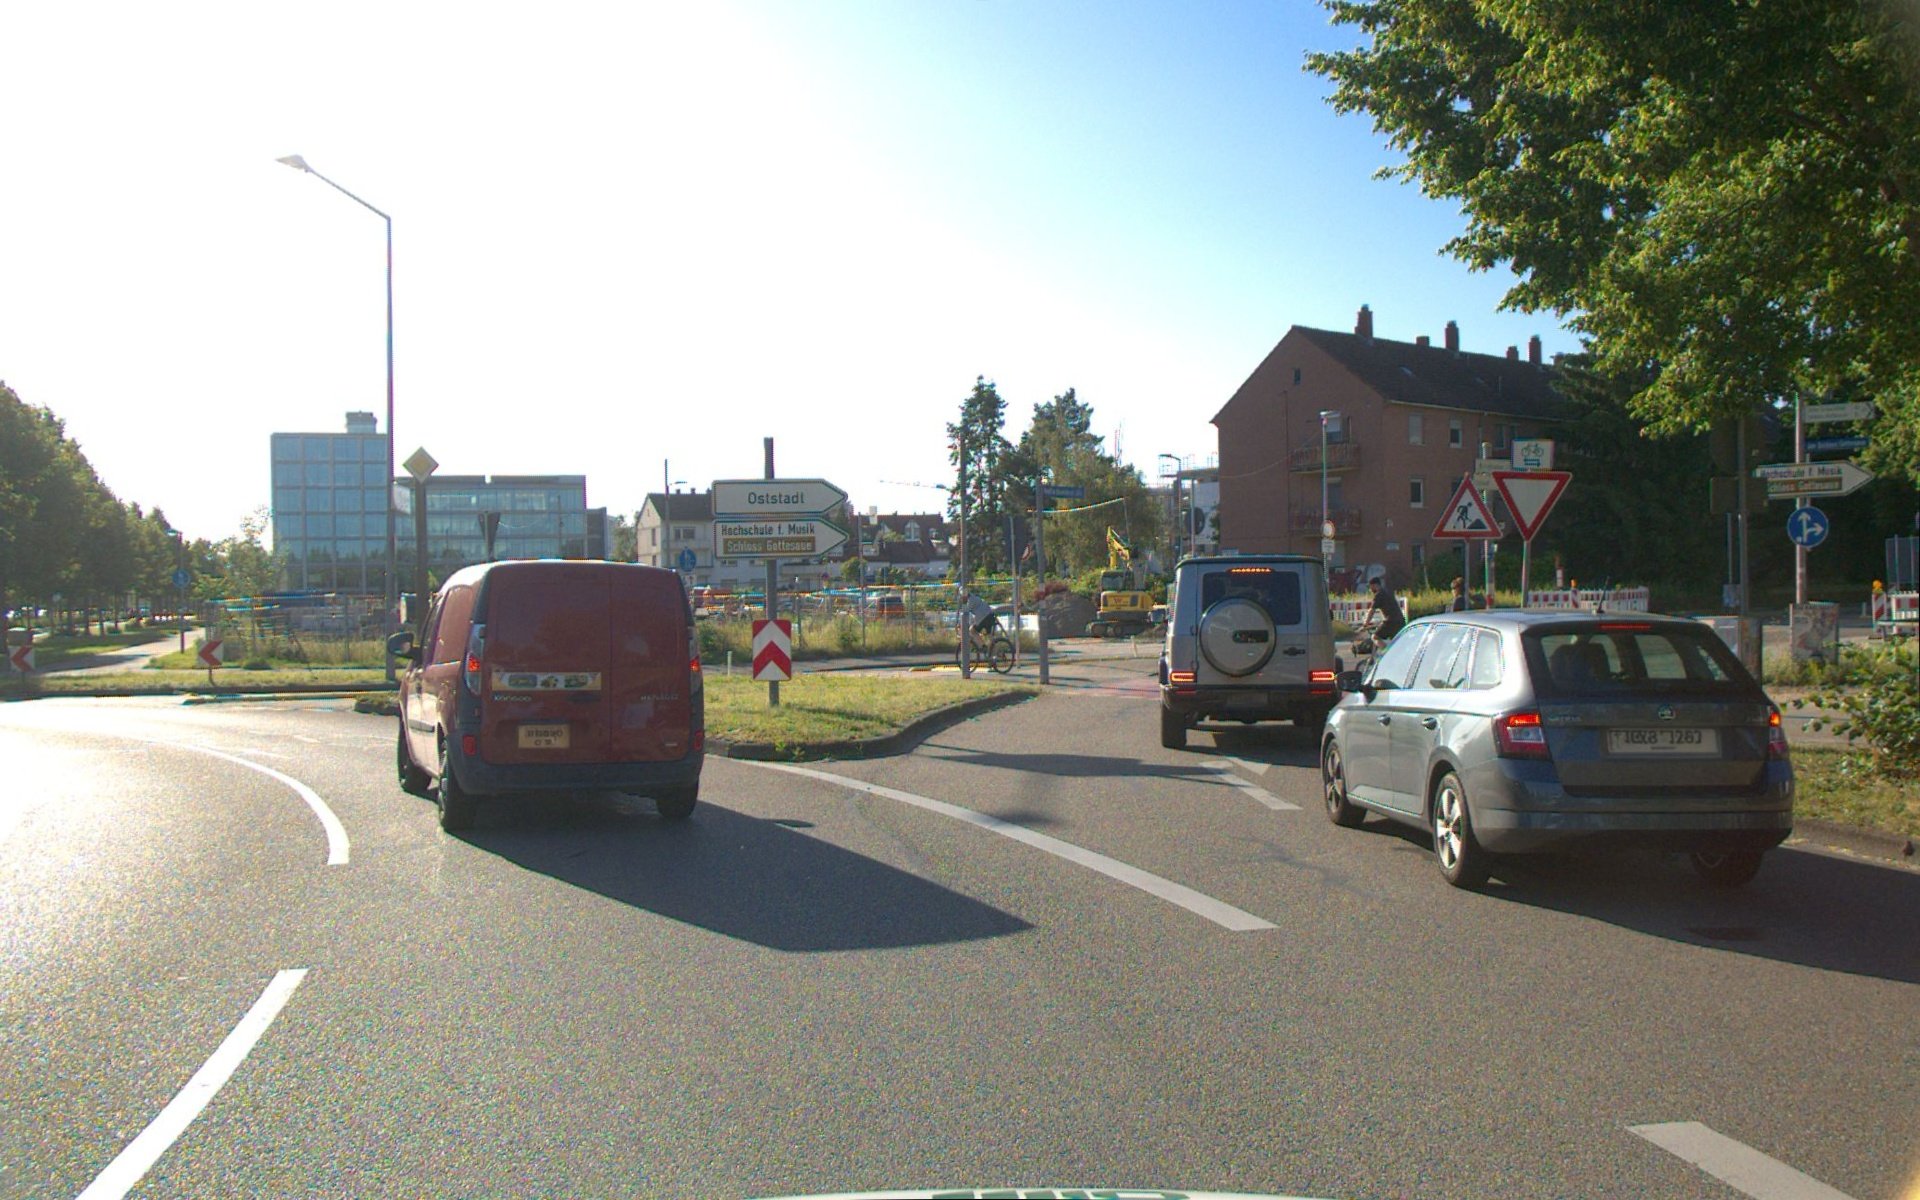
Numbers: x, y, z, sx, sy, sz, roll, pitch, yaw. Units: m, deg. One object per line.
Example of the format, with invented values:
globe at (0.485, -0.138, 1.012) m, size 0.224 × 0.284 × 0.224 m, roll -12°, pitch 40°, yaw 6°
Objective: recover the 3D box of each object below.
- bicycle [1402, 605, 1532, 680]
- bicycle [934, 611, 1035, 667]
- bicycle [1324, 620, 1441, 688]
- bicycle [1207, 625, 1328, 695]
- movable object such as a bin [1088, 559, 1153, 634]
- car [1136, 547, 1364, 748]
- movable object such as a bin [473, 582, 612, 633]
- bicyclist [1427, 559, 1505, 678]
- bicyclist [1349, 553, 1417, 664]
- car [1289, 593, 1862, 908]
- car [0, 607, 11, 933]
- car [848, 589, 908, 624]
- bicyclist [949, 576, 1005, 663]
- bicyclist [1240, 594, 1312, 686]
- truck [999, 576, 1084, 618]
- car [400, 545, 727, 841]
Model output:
bicycle at (7.402, 0.607, 24.204) m, size 0.653 × 1.045 × 1.801 m, roll 1°, pitch 0°, yaw -35°
bicycle at (0.487, 0.778, 33.676) m, size 1.970 × 1.045 × 0.740 m, roll 0°, pitch 3°, yaw 36°
bicycle at (6.792, 0.850, 26.680) m, size 0.654 × 1.045 × 1.797 m, roll 1°, pitch 0°, yaw -40°
bicycle at (4.814, 0.924, 25.970) m, size 1.789 × 1.045 × 0.657 m, roll 0°, pitch -1°, yaw 39°
movable object such as a bin at (6.275, -0.146, 65.027) m, size 2.368 × 2.822 × 4.002 m, roll 1°, pitch 0°, yaw 3°
car at (3.070, 0.461, 18.467) m, size 1.955 × 1.930 × 4.755 m, roll -1°, pitch 0°, yaw 3°
movable object such as a bin at (-24.855, 0.425, 98.544) m, size 7.790 × 2.831 × 2.926 m, roll -1°, pitch 1°, yaw -20°
bicyclist at (7.402, 0.262, 24.196) m, size 0.653 × 1.694 × 0.888 m, roll 1°, pitch 0°, yaw -36°
bicyclist at (6.806, 0.135, 26.635) m, size 0.648 × 1.760 × 0.801 m, roll -1°, pitch -1°, yaw -40°
car at (3.338, 0.704, 9.904) m, size 1.680 × 1.461 × 4.149 m, roll -1°, pitch 0°, yaw -3°
car at (-4.601, 0.759, 4.933) m, size 1.729 × 1.404 × 4.347 m, roll -1°, pitch 1°, yaw -11°
car at (-4.865, 0.377, 97.929) m, size 1.969 × 2.049 × 4.461 m, roll 1°, pitch 0°, yaw -26°
bicyclist at (0.348, 0.382, 33.738) m, size 0.837 × 1.709 × 0.740 m, roll 0°, pitch 3°, yaw 36°
bicyclist at (4.940, 0.616, 25.870) m, size 0.917 × 1.409 × 0.657 m, roll 0°, pitch 0°, yaw 38°
truck at (4.110, -0.144, 84.467) m, size 2.131 × 2.049 × 6.401 m, roll 1°, pitch 0°, yaw -19°
car at (-3.110, 0.576, 12.397) m, size 1.778 × 1.845 × 3.782 m, roll -1°, pitch 0°, yaw -23°
